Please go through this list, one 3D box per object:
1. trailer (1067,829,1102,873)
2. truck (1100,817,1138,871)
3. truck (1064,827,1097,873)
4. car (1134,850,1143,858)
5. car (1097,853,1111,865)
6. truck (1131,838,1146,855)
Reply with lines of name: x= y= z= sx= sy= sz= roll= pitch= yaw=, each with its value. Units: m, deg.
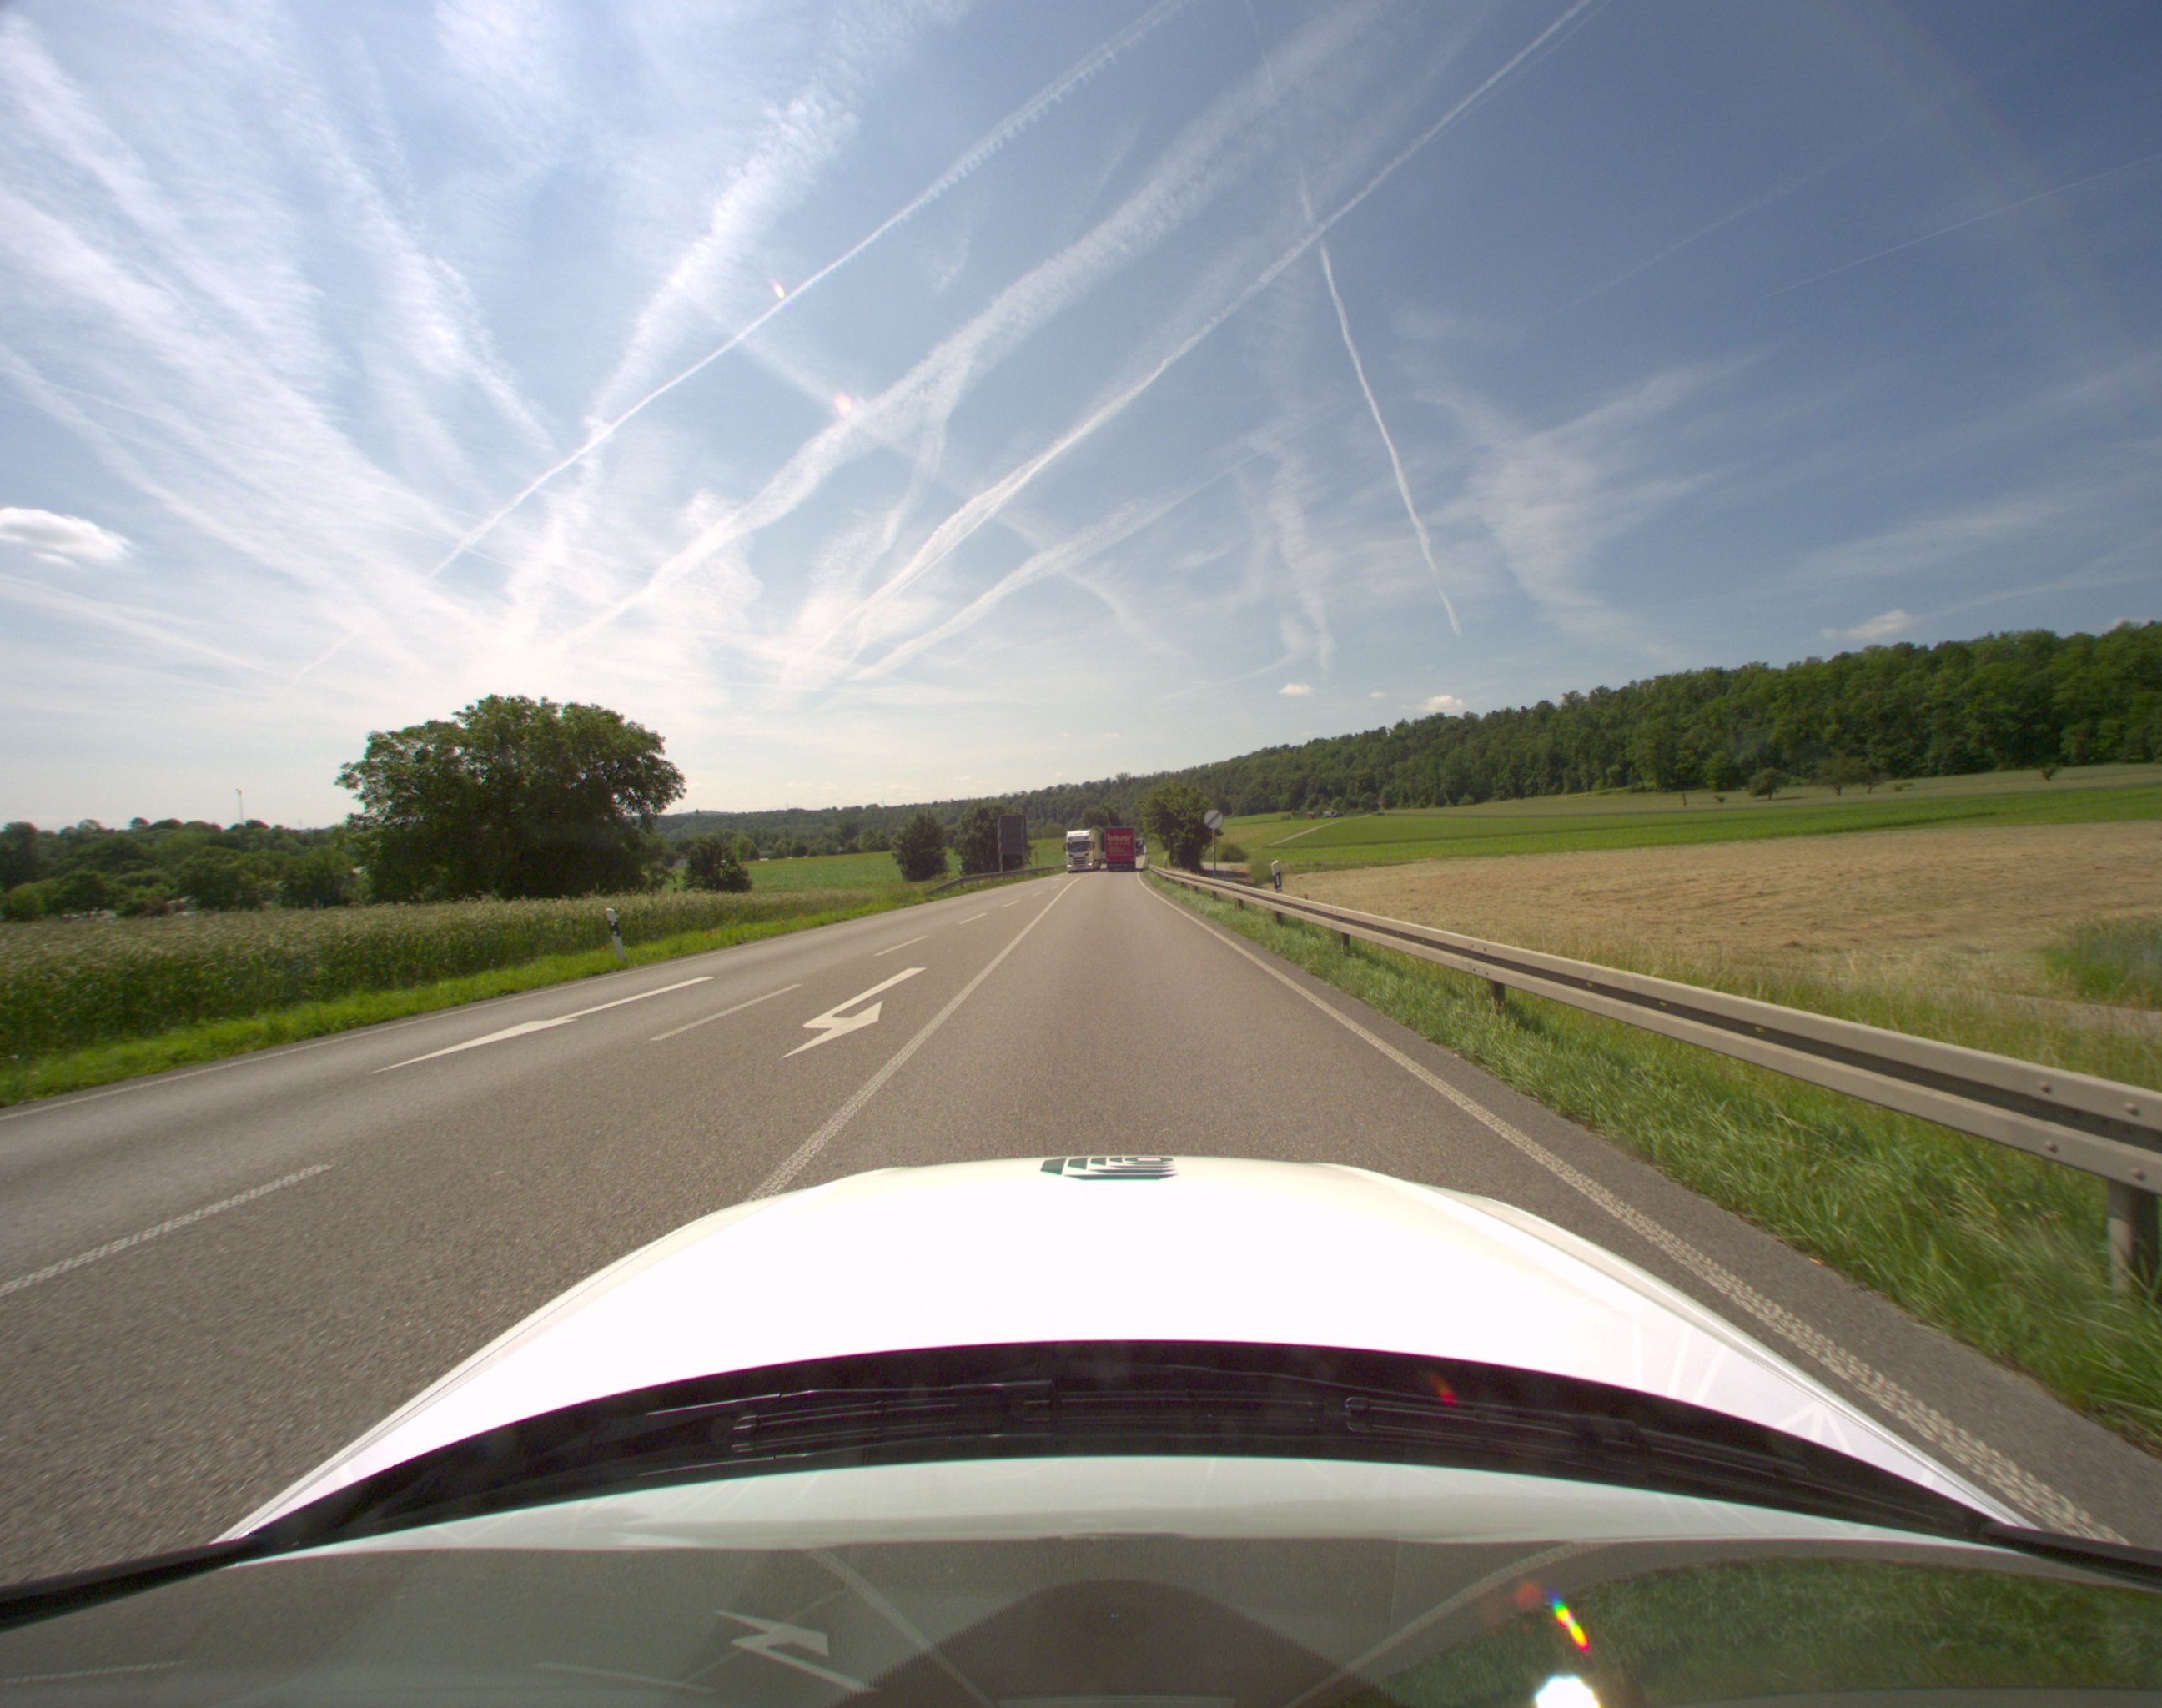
trailer: x=0.516 y=-0.284 z=85.270 sx=2.496 sy=4.119 sz=13.914 roll=-4 pitch=0 yaw=4
truck: x=3.659 y=-0.943 z=78.082 sx=3.159 sy=4.625 sz=13.553 roll=-2 pitch=0 yaw=3
truck: x=0.028 y=-0.335 z=78.768 sx=2.519 sy=4.119 sz=6.028 roll=-3 pitch=0 yaw=4
car: x=13.105 y=0.036 z=185.917 sx=1.985 sy=1.810 sz=4.003 roll=1 pitch=0 yaw=3
car: x=3.488 y=0.713 z=121.879 sx=1.821 sy=1.722 sz=4.368 roll=-4 pitch=0 yaw=4
truck: x=15.326 y=-1.841 z=216.614 sx=3.888 sy=4.369 sz=13.305 roll=1 pitch=0 yaw=4
